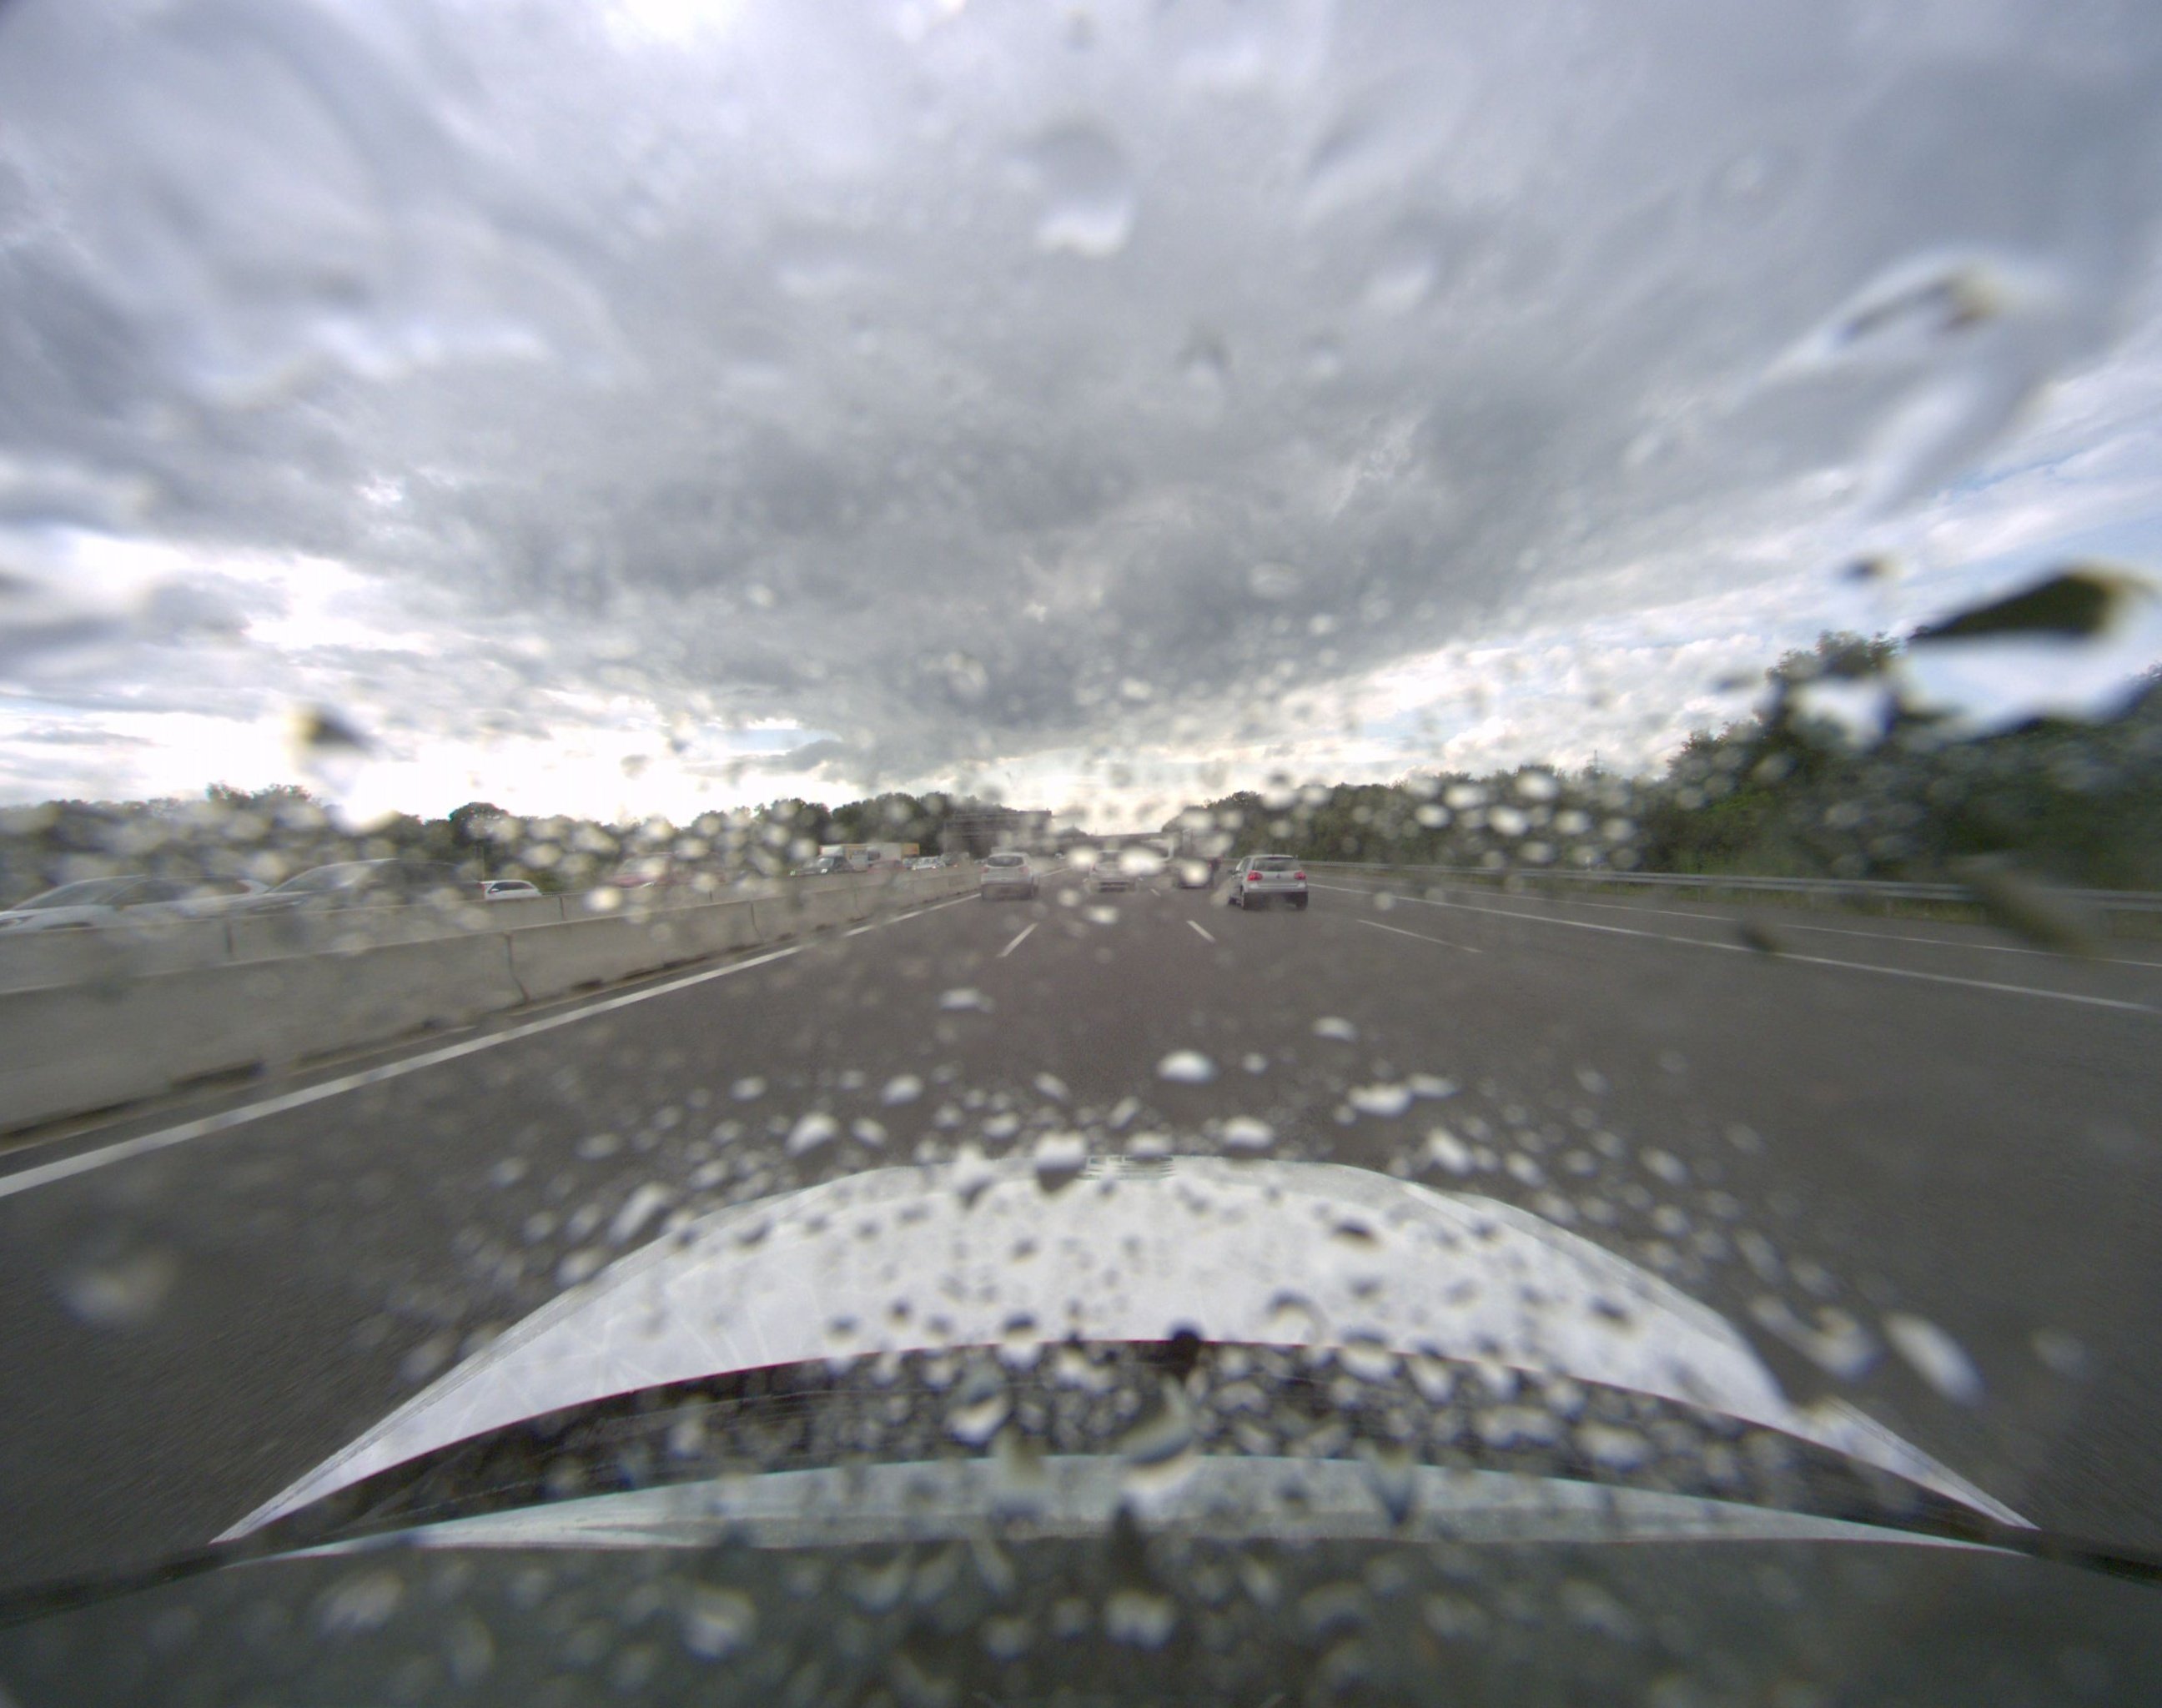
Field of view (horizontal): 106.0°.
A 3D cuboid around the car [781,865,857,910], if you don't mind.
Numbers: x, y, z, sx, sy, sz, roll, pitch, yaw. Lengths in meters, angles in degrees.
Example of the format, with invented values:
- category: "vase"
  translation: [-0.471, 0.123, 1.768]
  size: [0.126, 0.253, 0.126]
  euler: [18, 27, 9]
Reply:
- category: "car"
  translation: [-12.448, 1.543, 38.989]
  size: [1.985, 1.904, 4.506]
  euler: [-1, 0, 2]

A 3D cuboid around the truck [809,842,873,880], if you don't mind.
- category: "truck"
  translation: [-22.462, 0.621, 76.855]
  size: [2.898, 3.290, 9.207]
  euler: [-1, 0, 2]

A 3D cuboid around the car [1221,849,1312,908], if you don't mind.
- category: "car"
  translation: [5.160, 0.636, 23.153]
  size: [1.788, 1.477, 4.040]
  euler: [-1, 0, 2]

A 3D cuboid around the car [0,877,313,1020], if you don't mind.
- category: "car"
  translation: [-17.228, 1.512, 14.645]
  size: [1.986, 2.013, 4.974]
  euler: [-1, 0, 2]

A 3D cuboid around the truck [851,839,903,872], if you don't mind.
- category: "truck"
  translation: [-23.675, 0.214, 95.012]
  size: [2.866, 3.612, 10.320]
  euler: [-1, 0, 3]

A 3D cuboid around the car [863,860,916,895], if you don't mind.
- category: "car"
  translation: [-11.840, 1.388, 50.570]
  size: [1.986, 2.013, 4.689]
  euler: [-1, 0, 2]

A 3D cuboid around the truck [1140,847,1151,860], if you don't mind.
- category: "truck"
  translation: [18.618, -0.189, 235.885]
  size: [2.893, 3.810, 7.280]
  euler: [-1, 0, 3]

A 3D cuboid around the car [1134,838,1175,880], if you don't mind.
- category: "car"
  translation: [5.289, 0.356, 59.911]
  size: [2.557, 2.895, 7.536]
  euler: [-1, 0, 2]

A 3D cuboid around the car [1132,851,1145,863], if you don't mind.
- category: "car"
  translation: [9.468, 0.519, 133.965]
  size: [2.035, 1.823, 4.908]
  euler: [-1, 0, 3]

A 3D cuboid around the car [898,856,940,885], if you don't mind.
- category: "car"
  translation: [-11.777, 1.146, 59.638]
  size: [1.986, 2.013, 4.427]
  euler: [-1, 0, 2]

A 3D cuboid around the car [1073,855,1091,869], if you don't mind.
- category: "car"
  translation: [0.100, 0.883, 93.200]
  size: [1.773, 1.481, 4.356]
  euler: [-1, 0, 3]

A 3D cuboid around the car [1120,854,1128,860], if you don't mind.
- category: "car"
  translation: [11.151, 0.743, 210.521]
  size: [1.875, 1.686, 3.999]
  euler: [-1, 0, 0]

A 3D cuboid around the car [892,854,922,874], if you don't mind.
- category: "car"
  translation: [-18.662, 1.026, 87.762]
  size: [1.987, 2.013, 5.347]
  euler: [-1, 0, 1]

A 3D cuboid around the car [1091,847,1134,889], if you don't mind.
- category: "car"
  translation: [1.370, 0.596, 35.880]
  size: [1.774, 1.716, 4.354]
  euler: [-1, 0, 2]

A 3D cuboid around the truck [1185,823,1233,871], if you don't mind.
- category: "truck"
  translation: [10.712, -0.551, 69.038]
  size: [3.119, 3.709, 9.858]
  euler: [-1, 0, 4]

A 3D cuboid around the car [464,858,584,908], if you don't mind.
- category: "car"
  translation: [-24.597, 1.219, 36.212]
  size: [1.986, 2.013, 4.689]
  euler: [-1, 0, 2]

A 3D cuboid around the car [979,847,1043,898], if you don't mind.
- category: "car"
  translation: [-2.506, 0.625, 30.397]
  size: [1.808, 1.689, 4.853]
  euler: [-2, 0, 1]

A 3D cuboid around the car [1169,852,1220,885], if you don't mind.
- category: "car"
  translation: [5.176, 0.631, 37.712]
  size: [1.878, 1.407, 4.284]
  euler: [-1, 0, 2]

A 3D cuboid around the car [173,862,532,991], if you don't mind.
- category: "car"
  translation: [-13.639, 1.196, 15.905]
  size: [1.986, 2.013, 5.421]
  euler: [-1, 0, 2]

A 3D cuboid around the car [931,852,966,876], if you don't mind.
- category: "car"
  translation: [-11.727, 0.895, 72.426]
  size: [1.986, 2.013, 5.760]
  euler: [-1, 0, 2]

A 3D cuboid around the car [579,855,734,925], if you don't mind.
- category: "car"
  translation: [-13.461, 1.049, 26.312]
  size: [1.986, 2.013, 5.421]
  euler: [-1, 0, 2]
